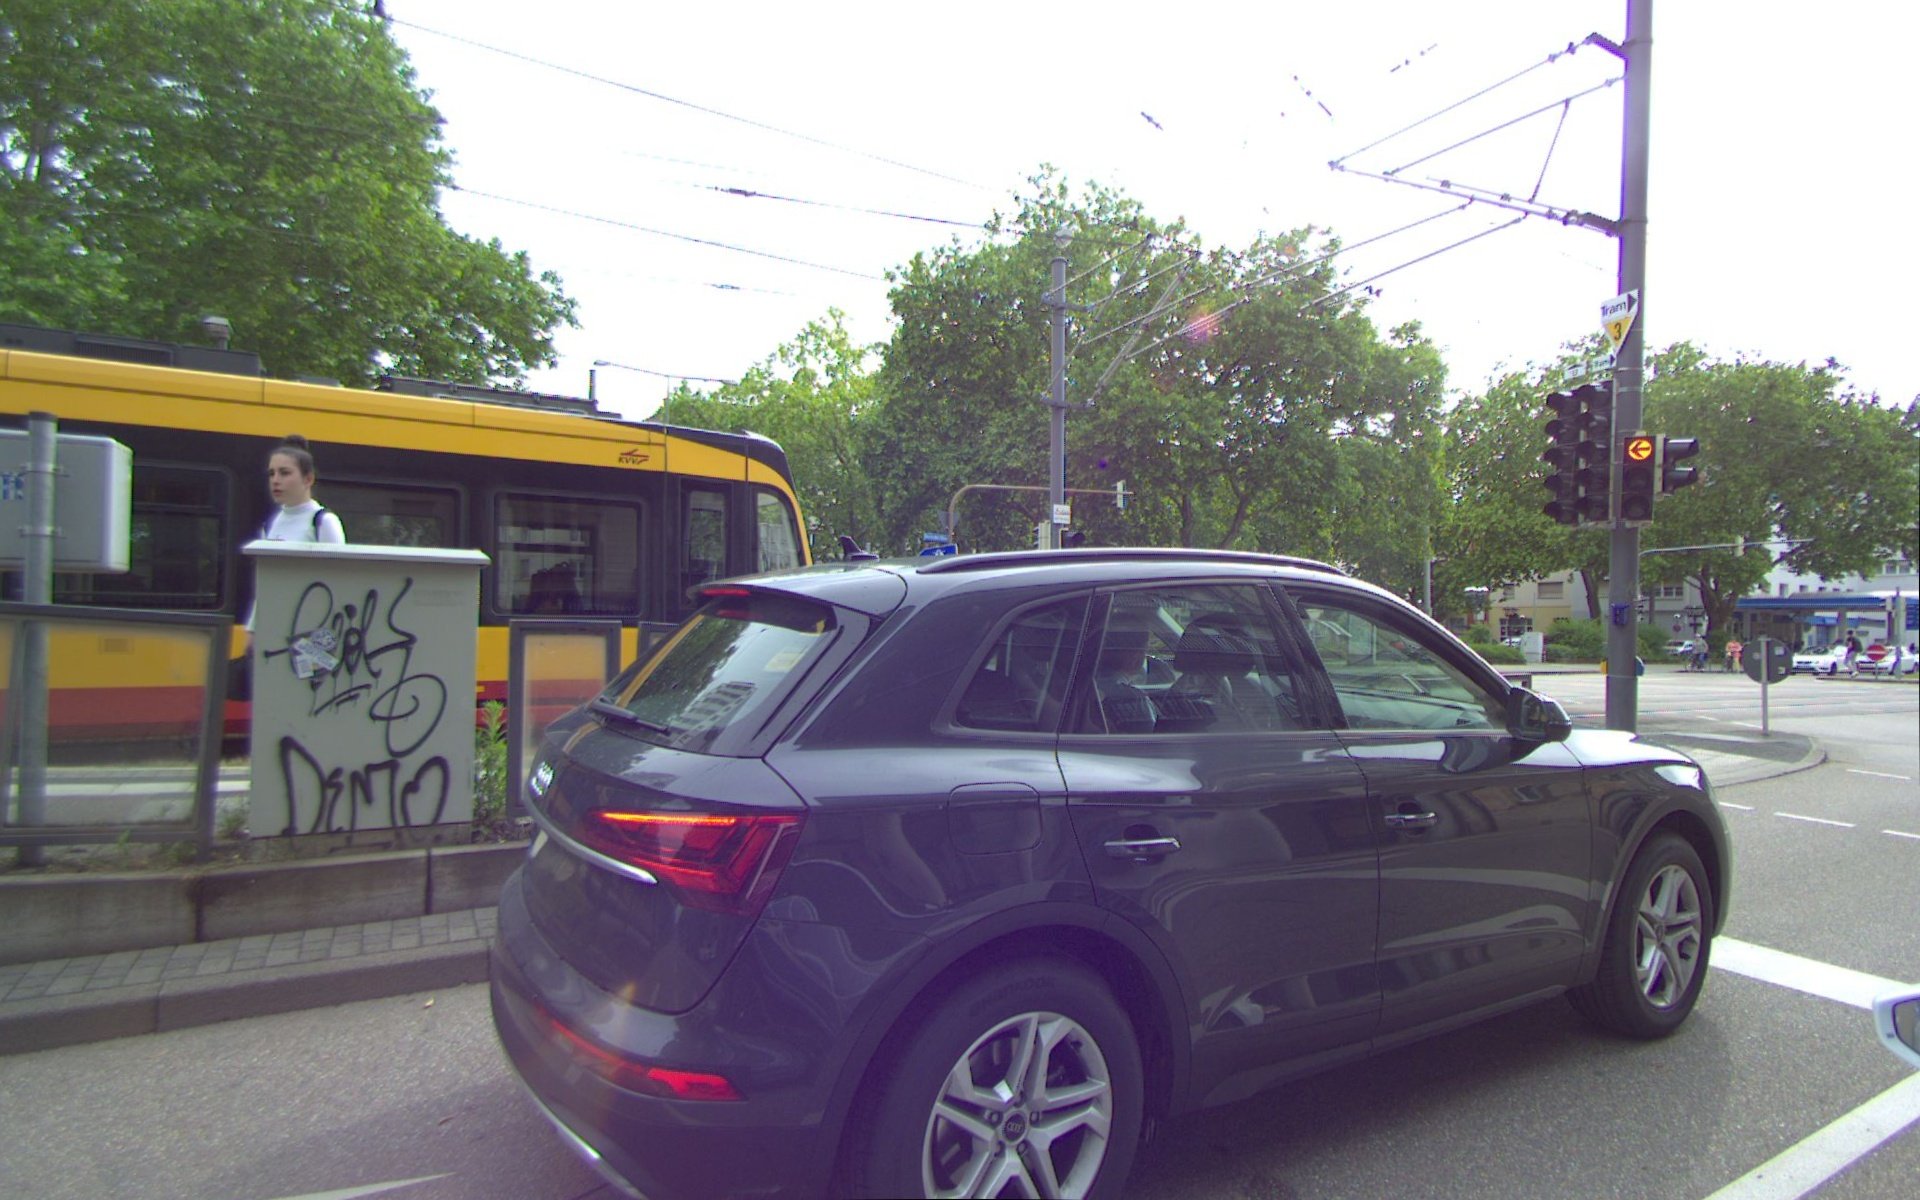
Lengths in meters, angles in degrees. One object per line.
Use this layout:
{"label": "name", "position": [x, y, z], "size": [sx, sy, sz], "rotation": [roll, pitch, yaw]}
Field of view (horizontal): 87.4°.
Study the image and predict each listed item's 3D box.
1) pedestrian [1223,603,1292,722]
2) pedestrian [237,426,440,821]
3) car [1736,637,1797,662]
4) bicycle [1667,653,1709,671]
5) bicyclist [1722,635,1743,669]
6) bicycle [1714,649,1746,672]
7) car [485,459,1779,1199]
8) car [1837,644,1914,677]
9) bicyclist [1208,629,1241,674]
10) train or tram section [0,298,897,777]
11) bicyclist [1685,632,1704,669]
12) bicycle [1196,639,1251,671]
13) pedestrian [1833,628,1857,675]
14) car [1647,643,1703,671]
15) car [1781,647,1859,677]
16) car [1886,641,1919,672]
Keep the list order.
{"label": "pedestrian", "position": [4.415, 0.912, 14.949], "size": [0.851, 1.702, 0.673], "rotation": [2, 0, 9]}
{"label": "pedestrian", "position": [-2.929, 0.105, 4.789], "size": [0.722, 1.683, 0.750], "rotation": [2, 0, -30]}
{"label": "car", "position": [54.731, 3.360, 68.164], "size": [3.954, 1.550, 1.984], "rotation": [2, 0, -30]}
{"label": "bicycle", "position": [35.722, 3.045, 49.304], "size": [0.644, 0.783, 1.682], "rotation": [2, 0, -9]}
{"label": "bicyclist", "position": [37.252, 2.508, 48.418], "size": [0.611, 1.588, 0.585], "rotation": [2, 0, -30]}
{"label": "bicycle", "position": [36.987, 2.902, 48.269], "size": [1.914, 1.031, 0.519], "rotation": [2, 0, -30]}
{"label": "car", "position": [0.811, 0.653, 3.531], "size": [4.308, 1.622, 1.870], "rotation": [2, -1, -31]}
{"label": "car", "position": [46.884, 3.086, 51.425], "size": [3.792, 1.578, 1.885], "rotation": [2, 0, -30]}
{"label": "bicyclist", "position": [10.369, 2.009, 39.377], "size": [1.026, 1.706, 0.641], "rotation": [2, 0, 41]}
{"label": "train or tram section", "position": [-8.264, -0.498, 8.830], "size": [15.665, 3.636, 3.045], "rotation": [2, 0, -31]}
{"label": "bicyclist", "position": [35.872, 2.466, 49.045], "size": [0.461, 1.808, 0.534], "rotation": [2, 0, -10]}
{"label": "bicycle", "position": [10.331, 2.132, 39.387], "size": [1.914, 1.151, 0.732], "rotation": [2, 0, 40]}
{"label": "pedestrian", "position": [35.160, 2.051, 39.895], "size": [0.513, 1.818, 0.569], "rotation": [2, 0, -34]}
{"label": "car", "position": [45.206, 3.580, 63.516], "size": [3.802, 1.578, 1.879], "rotation": [2, 0, -38]}
{"label": "car", "position": [41.371, 2.974, 48.307], "size": [3.954, 1.343, 1.626], "rotation": [2, 0, -31]}
{"label": "car", "position": [52.751, 3.097, 55.067], "size": [3.792, 1.578, 1.885], "rotation": [2, 0, -30]}
